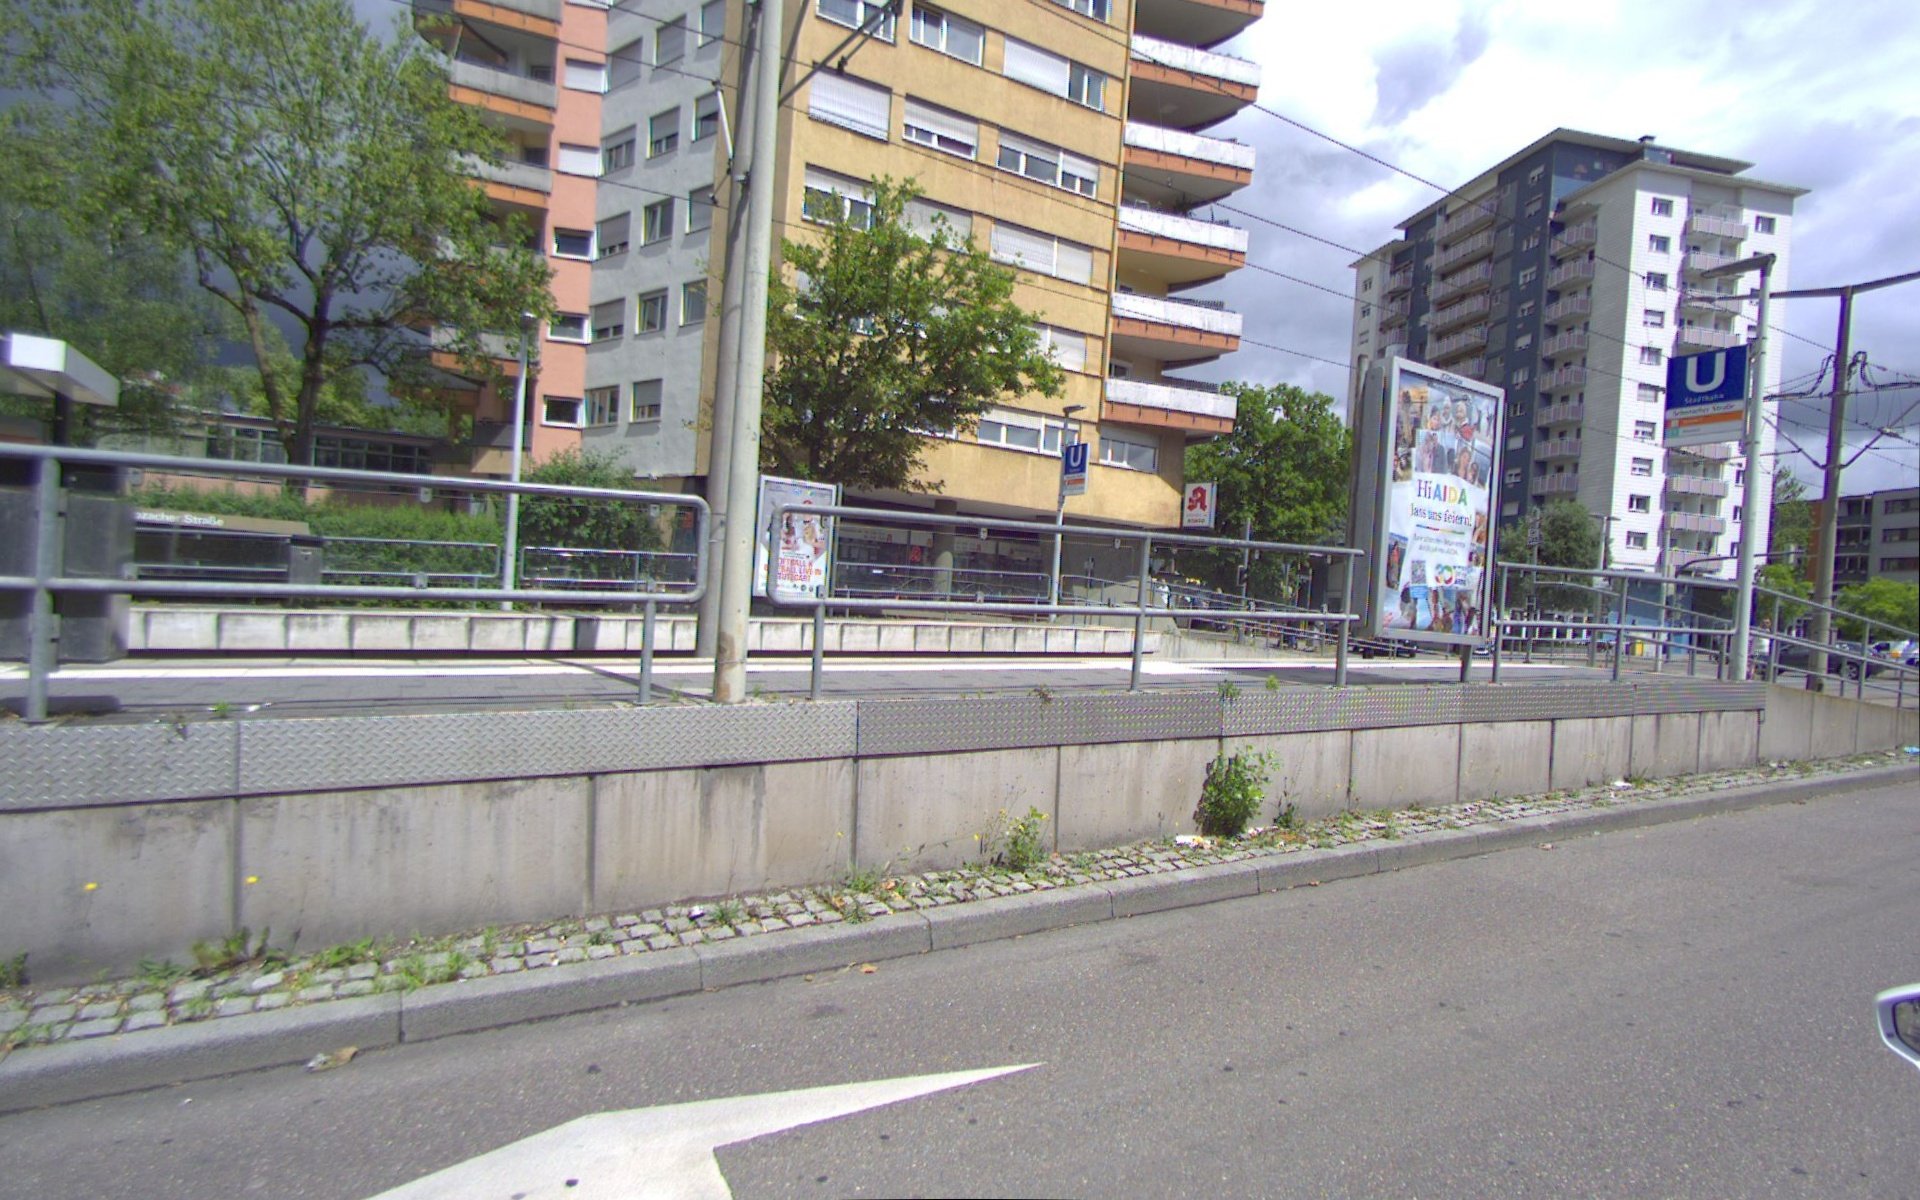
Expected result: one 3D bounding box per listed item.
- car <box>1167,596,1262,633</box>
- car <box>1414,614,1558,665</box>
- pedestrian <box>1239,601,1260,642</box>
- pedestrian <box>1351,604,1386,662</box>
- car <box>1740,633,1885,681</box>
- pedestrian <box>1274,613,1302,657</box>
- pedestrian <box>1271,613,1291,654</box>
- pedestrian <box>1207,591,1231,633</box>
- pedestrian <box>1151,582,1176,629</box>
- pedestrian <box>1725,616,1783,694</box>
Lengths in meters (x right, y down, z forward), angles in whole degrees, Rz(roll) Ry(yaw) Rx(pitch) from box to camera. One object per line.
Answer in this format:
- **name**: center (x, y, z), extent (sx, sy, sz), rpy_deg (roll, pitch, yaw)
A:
- **car**: center (12.725, 0.713, 50.443), extent (1.978, 1.716, 4.454), rpy_deg (2, 0, -32)
- **car**: center (19.976, 1.476, 38.318), extent (1.980, 1.716, 4.450), rpy_deg (2, 0, -35)
- **pedestrian**: center (11.719, 0.876, 40.609), extent (0.759, 1.604, 0.610), rpy_deg (2, 0, 18)
- **pedestrian**: center (11.871, 0.945, 29.193), extent (0.630, 1.654, 0.698), rpy_deg (2, -1, -28)
- **car**: center (32.536, 2.138, 38.429), extent (1.660, 1.546, 3.957), rpy_deg (2, 0, -37)
- **pedestrian**: center (10.423, 1.109, 31.911), extent (0.677, 1.360, 0.859), rpy_deg (2, 0, 30)
- **pedestrian**: center (10.785, 1.128, 33.794), extent (0.543, 1.360, 0.669), rpy_deg (2, 0, 12)
- **pedestrian**: center (10.099, 0.476, 39.180), extent (0.613, 1.599, 0.858), rpy_deg (2, 0, 33)
- **pedestrian**: center (7.750, 0.210, 38.321), extent (0.669, 1.729, 0.826), rpy_deg (2, 0, -4)
- **pedestrian**: center (18.131, 1.233, 22.961), extent (0.675, 1.719, 0.861), rpy_deg (2, 0, 11)
